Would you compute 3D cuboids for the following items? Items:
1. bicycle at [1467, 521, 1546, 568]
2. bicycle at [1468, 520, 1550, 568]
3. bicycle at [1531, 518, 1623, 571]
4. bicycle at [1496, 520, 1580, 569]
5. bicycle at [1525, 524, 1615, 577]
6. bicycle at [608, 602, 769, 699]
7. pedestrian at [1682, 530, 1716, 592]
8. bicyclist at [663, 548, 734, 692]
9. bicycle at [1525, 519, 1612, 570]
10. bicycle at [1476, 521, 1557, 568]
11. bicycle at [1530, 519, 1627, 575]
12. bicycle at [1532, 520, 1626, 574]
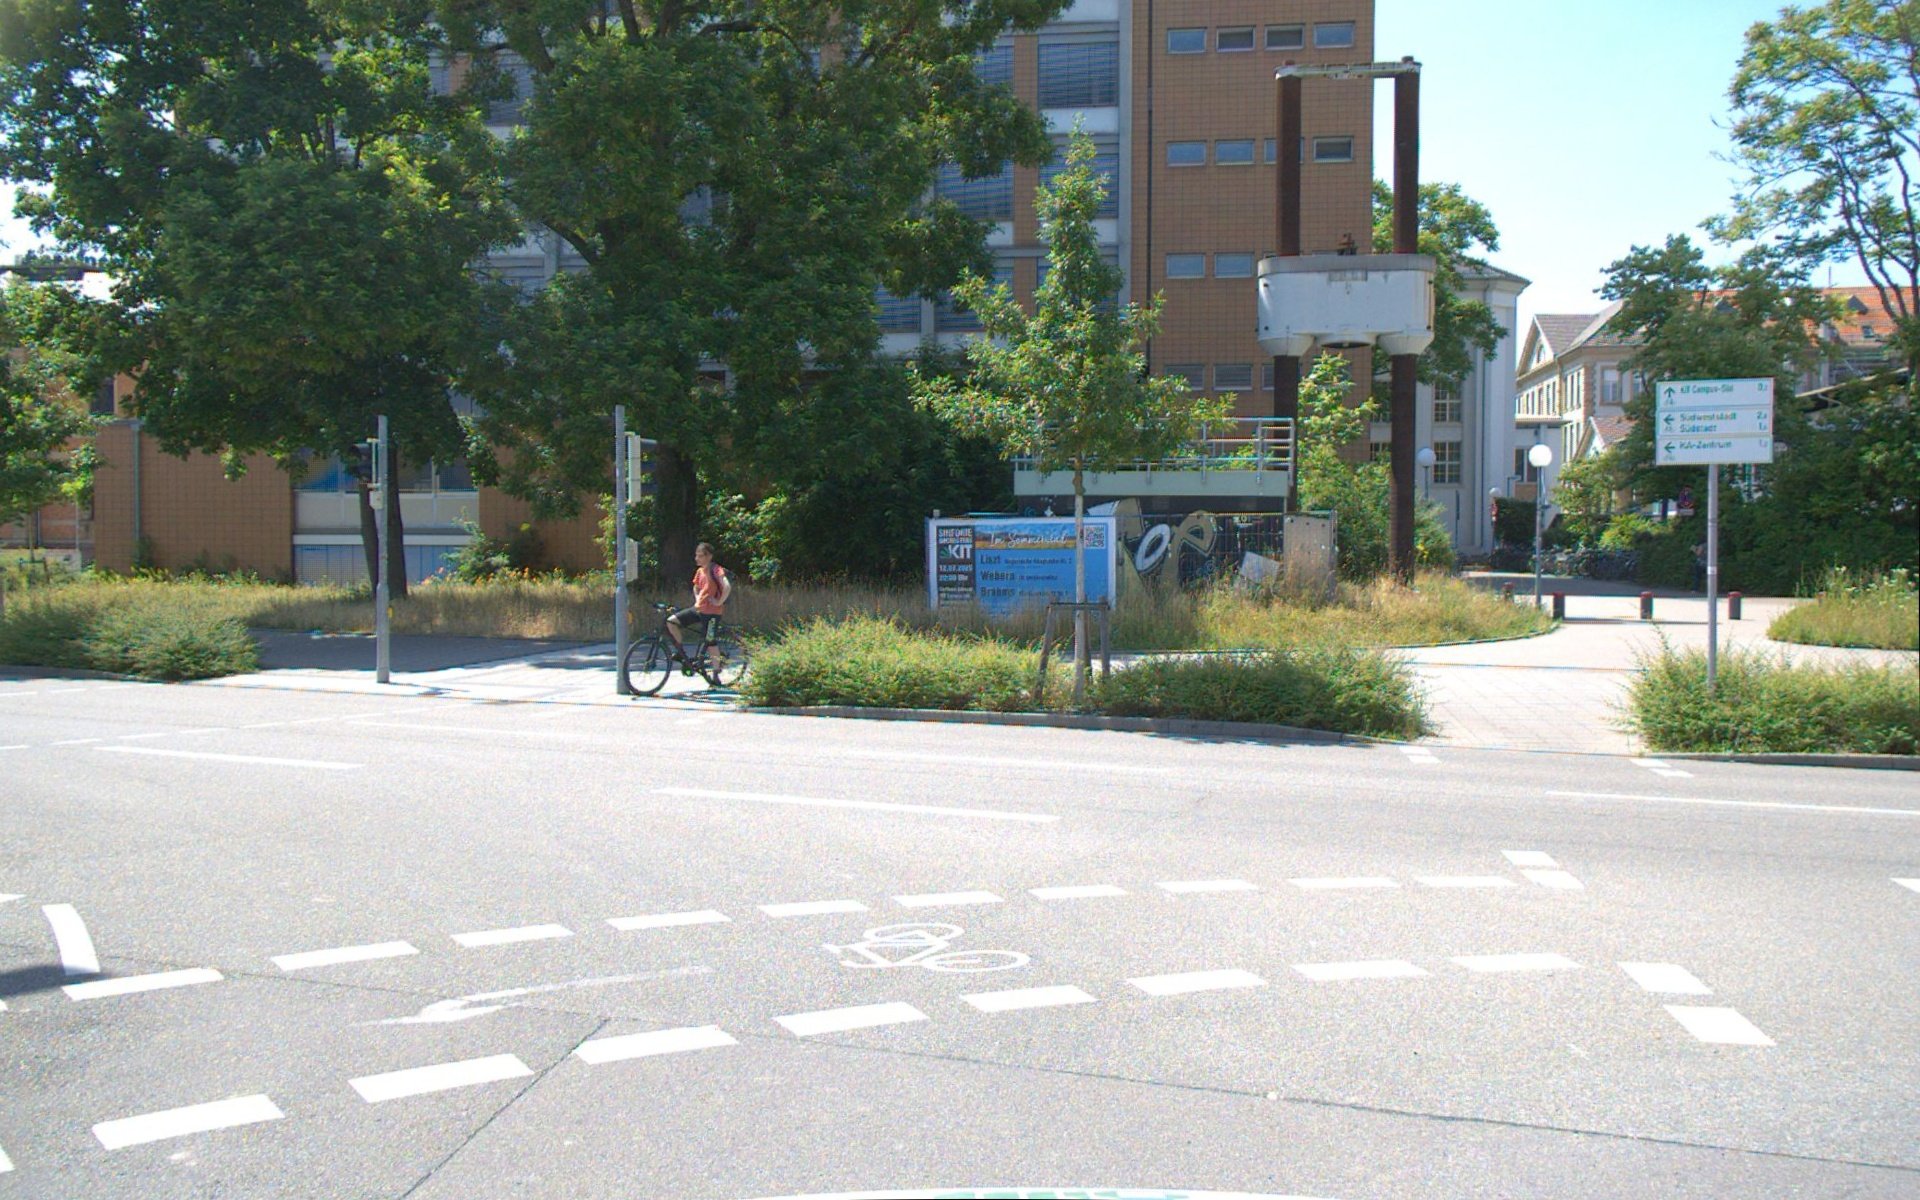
[{"bbox_3d":[25.680,-2.619,77.713,3.374,2.048,0.761,3,2,11],"label":"bicycle"},{"bbox_3d":[25.038,-2.556,75.456,3.374,2.048,0.761,3,2,11],"label":"bicycle"},{"bbox_3d":[25.137,-2.270,67.462,3.374,2.048,0.761,3,2,11],"label":"bicycle"},{"bbox_3d":[25.580,-2.465,73.288,3.374,2.048,0.761,3,2,11],"label":"bicycle"},{"bbox_3d":[25.484,-2.074,69.111,3.374,2.048,0.761,3,2,11],"label":"bicycle"},{"bbox_3d":[-3.365,0.600,20.625,1.978,1.063,0.551,-3,4,-39],"label":"bicycle"},{"bbox_3d":[20.635,-1.098,46.199,0.625,1.694,0.707,2,2,8],"label":"pedestrian"},{"bbox_3d":[-3.269,0.234,20.676,0.696,1.745,0.544,-2,4,-40],"label":"bicyclist"},{"bbox_3d":[26.162,-2.378,71.186,3.374,2.048,0.761,3,2,11],"label":"bicycle"},{"bbox_3d":[25.661,-2.575,76.352,3.374,2.048,0.761,3,2,11],"label":"bicycle"},{"bbox_3d":[24.217,-2.073,64.801,3.374,2.048,0.761,3,2,11],"label":"bicycle"},{"bbox_3d":[24.756,-2.131,66.240,3.374,2.048,0.761,3,2,11],"label":"bicycle"}]
